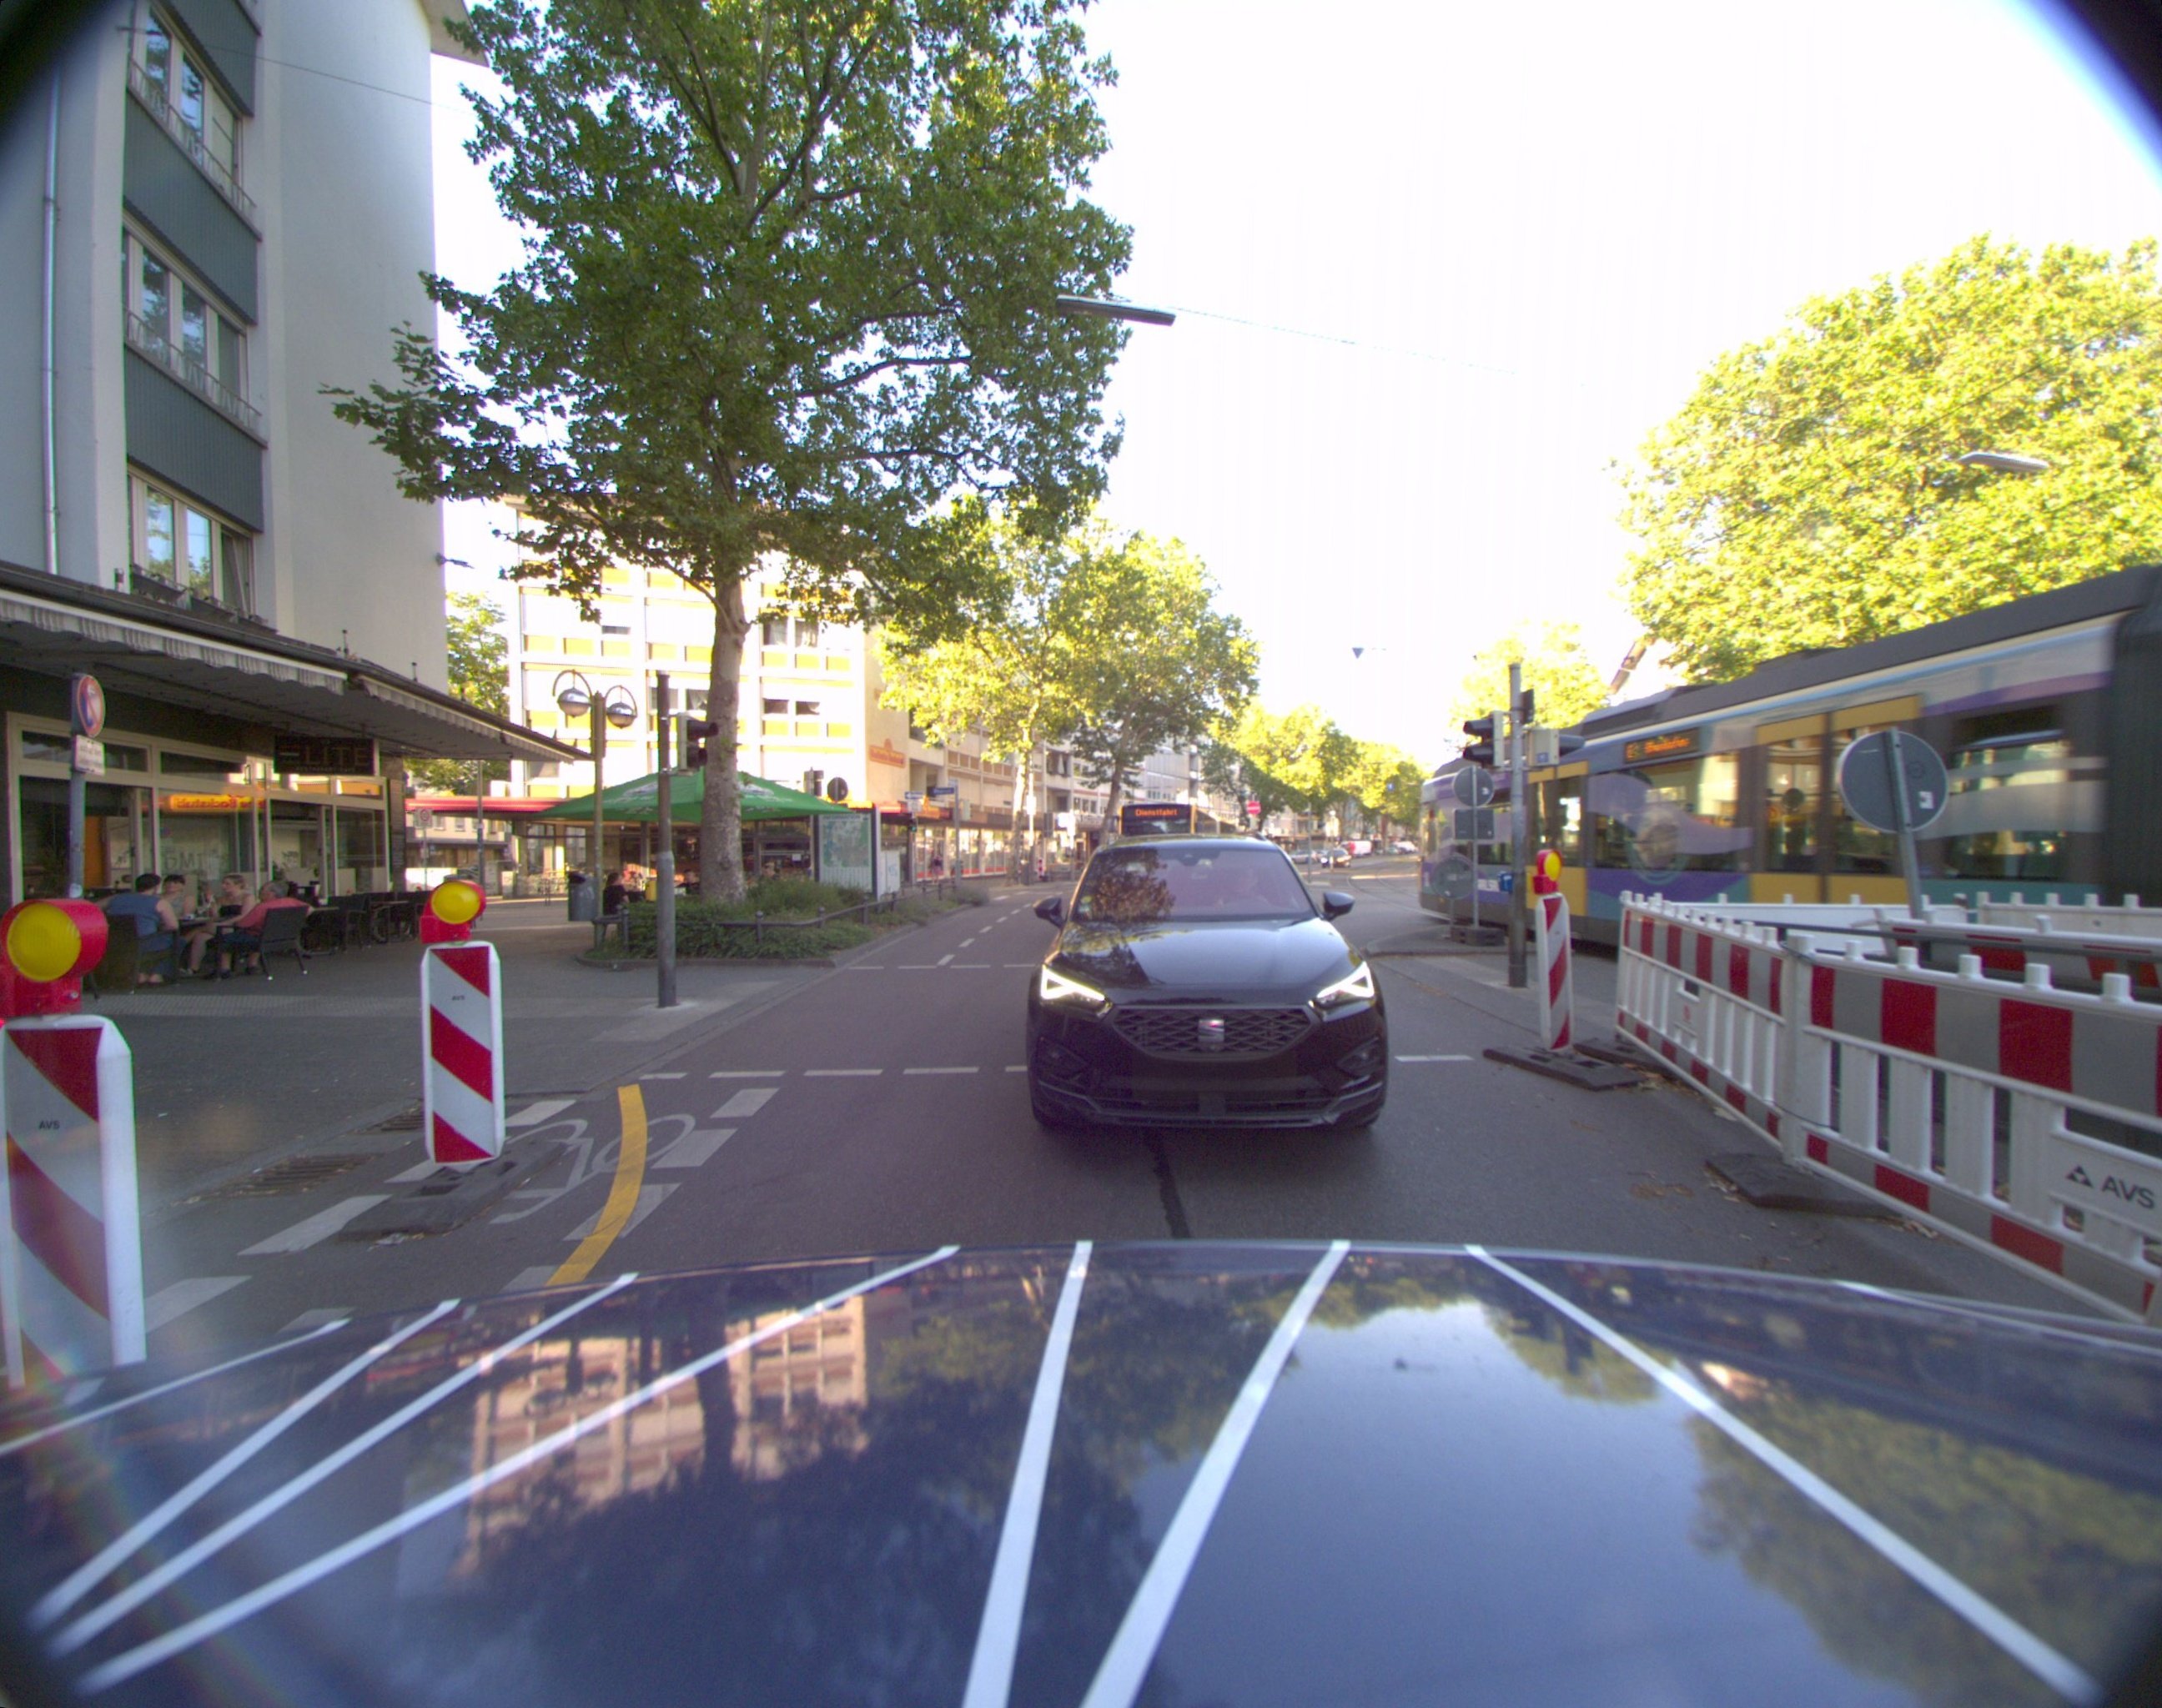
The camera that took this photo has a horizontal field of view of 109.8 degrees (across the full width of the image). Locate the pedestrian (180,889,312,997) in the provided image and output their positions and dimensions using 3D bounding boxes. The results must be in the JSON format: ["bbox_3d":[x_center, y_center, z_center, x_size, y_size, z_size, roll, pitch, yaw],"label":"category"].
[{"bbox_3d":[-9.853,1.020,9.001,0.847,1.191,0.649,1,0,-22],"label":"pedestrian"}]

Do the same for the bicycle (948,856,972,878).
[{"bbox_3d":[-6.675,0.699,42.034,0.528,1.136,1.976,0,1,15],"label":"bicycle"}]

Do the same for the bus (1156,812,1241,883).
[{"bbox_3d":[6.058,-0.334,37.731,2.749,3.085,9.508,0,1,17],"label":"bus"}]

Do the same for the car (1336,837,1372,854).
[{"bbox_3d":[40.631,-1.309,113.118,4.868,2.362,1.878,-1,2,-10],"label":"car"}]

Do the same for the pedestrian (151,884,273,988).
[{"bbox_3d":[-10.699,0.986,9.381,0.666,1.211,0.717,0,0,-5],"label":"pedestrian"}]

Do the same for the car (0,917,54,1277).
[{"bbox_3d":[-5.155,0.993,1.427,1.623,1.457,3.604,2,0,-2],"label":"car"}]

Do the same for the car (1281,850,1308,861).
[{"bbox_3d":[23.918,0.148,85.024,2.629,1.209,1.200,-1,2,-6],"label":"car"}]

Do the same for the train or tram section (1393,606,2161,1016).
[{"bbox_3d":[8.087,-0.392,11.690,2.842,3.467,10.339,-1,1,3],"label":"train or tram section"}]

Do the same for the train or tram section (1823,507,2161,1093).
[{"bbox_3d":[7.779,-0.305,1.401,2.878,3.467,10.338,-1,1,1],"label":"train or tram section"}]

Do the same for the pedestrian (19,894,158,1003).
[{"bbox_3d":[-11.092,1.027,8.525,0.718,1.123,0.649,1,0,-24],"label":"pedestrian"}]

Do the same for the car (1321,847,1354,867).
[{"bbox_3d":[21.000,0.237,62.069,1.952,1.467,4.764,0,2,26],"label":"car"}]

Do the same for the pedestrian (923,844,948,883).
[{"bbox_3d":[-6.604,0.420,34.583,0.748,1.747,0.903,0,1,17],"label":"pedestrian"}]

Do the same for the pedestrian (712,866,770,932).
[{"bbox_3d":[-6.815,0.889,15.262,0.718,1.278,0.769,-1,1,14],"label":"pedestrian"}]

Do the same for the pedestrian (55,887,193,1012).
[{"bbox_3d":[-10.226,0.984,8.150,0.651,1.244,0.716,1,0,-24],"label":"pedestrian"}]

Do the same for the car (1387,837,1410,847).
[{"bbox_3d":[64.316,-2.470,153.869,4.000,2.002,1.879,-1,1,-8],"label":"car"}]

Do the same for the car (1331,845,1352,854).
[{"bbox_3d":[36.708,-0.644,107.120,2.627,1.338,1.201,-1,2,3],"label":"car"}]

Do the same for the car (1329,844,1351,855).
[{"bbox_3d":[35.457,-0.615,104.222,2.627,1.380,1.201,-1,2,3],"label":"car"}]

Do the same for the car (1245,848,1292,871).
[{"bbox_3d":[13.624,0.367,54.912,1.952,1.541,4.765,0,2,31],"label":"car"}]

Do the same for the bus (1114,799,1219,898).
[{"bbox_3d":[3.521,-0.224,28.616,2.750,3.085,9.506,0,1,14],"label":"bus"}]

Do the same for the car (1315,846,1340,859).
[{"bbox_3d":[29.785,-0.158,91.827,2.627,1.464,1.201,-1,2,3],"label":"car"}]

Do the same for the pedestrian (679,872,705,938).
[{"bbox_3d":[-7.417,0.961,14.485,0.433,1.212,0.467,1,1,-29],"label":"pedestrian"}]

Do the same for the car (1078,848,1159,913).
[{"bbox_3d":[1.096,0.627,20.152,1.743,1.492,4.301,-2,0,7],"label":"car"}]

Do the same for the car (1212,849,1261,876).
[{"bbox_3d":[9.510,0.458,46.266,1.908,1.467,4.425,0,2,26],"label":"car"}]

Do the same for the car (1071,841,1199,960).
[{"bbox_3d":[0.964,0.645,12.788,1.743,1.630,4.300,-2,0,6],"label":"car"}]

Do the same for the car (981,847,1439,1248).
[{"bbox_3d":[0.678,0.805,5.312,1.848,1.648,4.300,-2,0,4],"label":"car"}]

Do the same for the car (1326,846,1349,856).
[{"bbox_3d":[34.051,-0.393,100.940,2.627,1.274,1.201,-1,2,3],"label":"car"}]

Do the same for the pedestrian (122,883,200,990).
[{"bbox_3d":[-11.249,0.986,9.294,0.519,1.236,0.553,0,0,34],"label":"pedestrian"}]

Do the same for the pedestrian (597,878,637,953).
[{"bbox_3d":[-7.787,1.012,12.750,0.469,1.212,0.431,-2,1,-44],"label":"pedestrian"}]

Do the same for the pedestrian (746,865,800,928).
[{"bbox_3d":[-6.547,0.886,16.186,0.718,1.278,0.769,-1,1,13],"label":"pedestrian"}]
